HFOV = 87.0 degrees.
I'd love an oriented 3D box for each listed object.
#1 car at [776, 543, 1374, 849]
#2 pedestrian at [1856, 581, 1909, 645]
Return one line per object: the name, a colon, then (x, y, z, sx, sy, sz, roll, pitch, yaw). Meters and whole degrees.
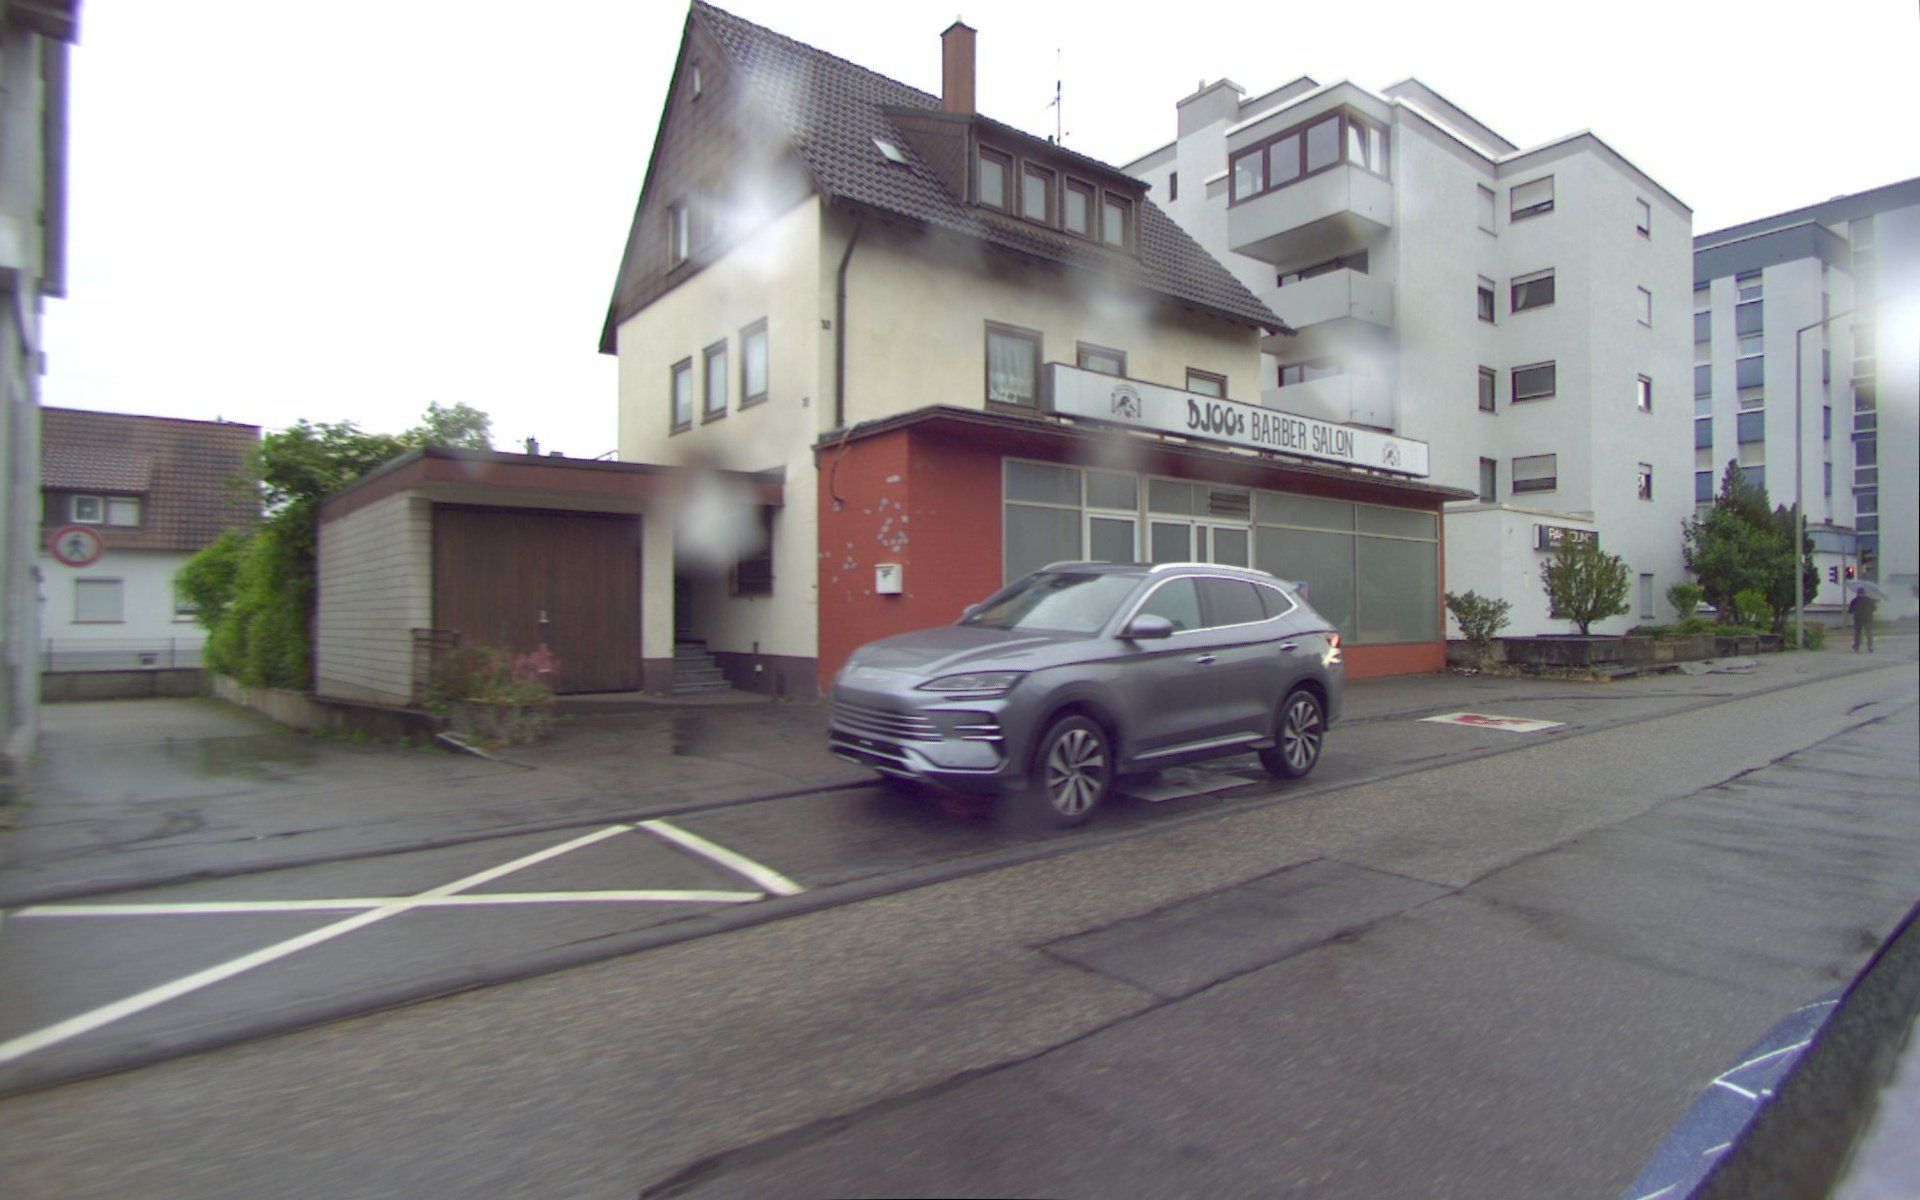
car: (1.125, 0.463, 7.753, 4.709, 1.663, 1.878, -1, 2, -41)
pedestrian: (23.621, 0.326, 25.909, 0.975, 1.588, 0.754, -1, -2, -36)
